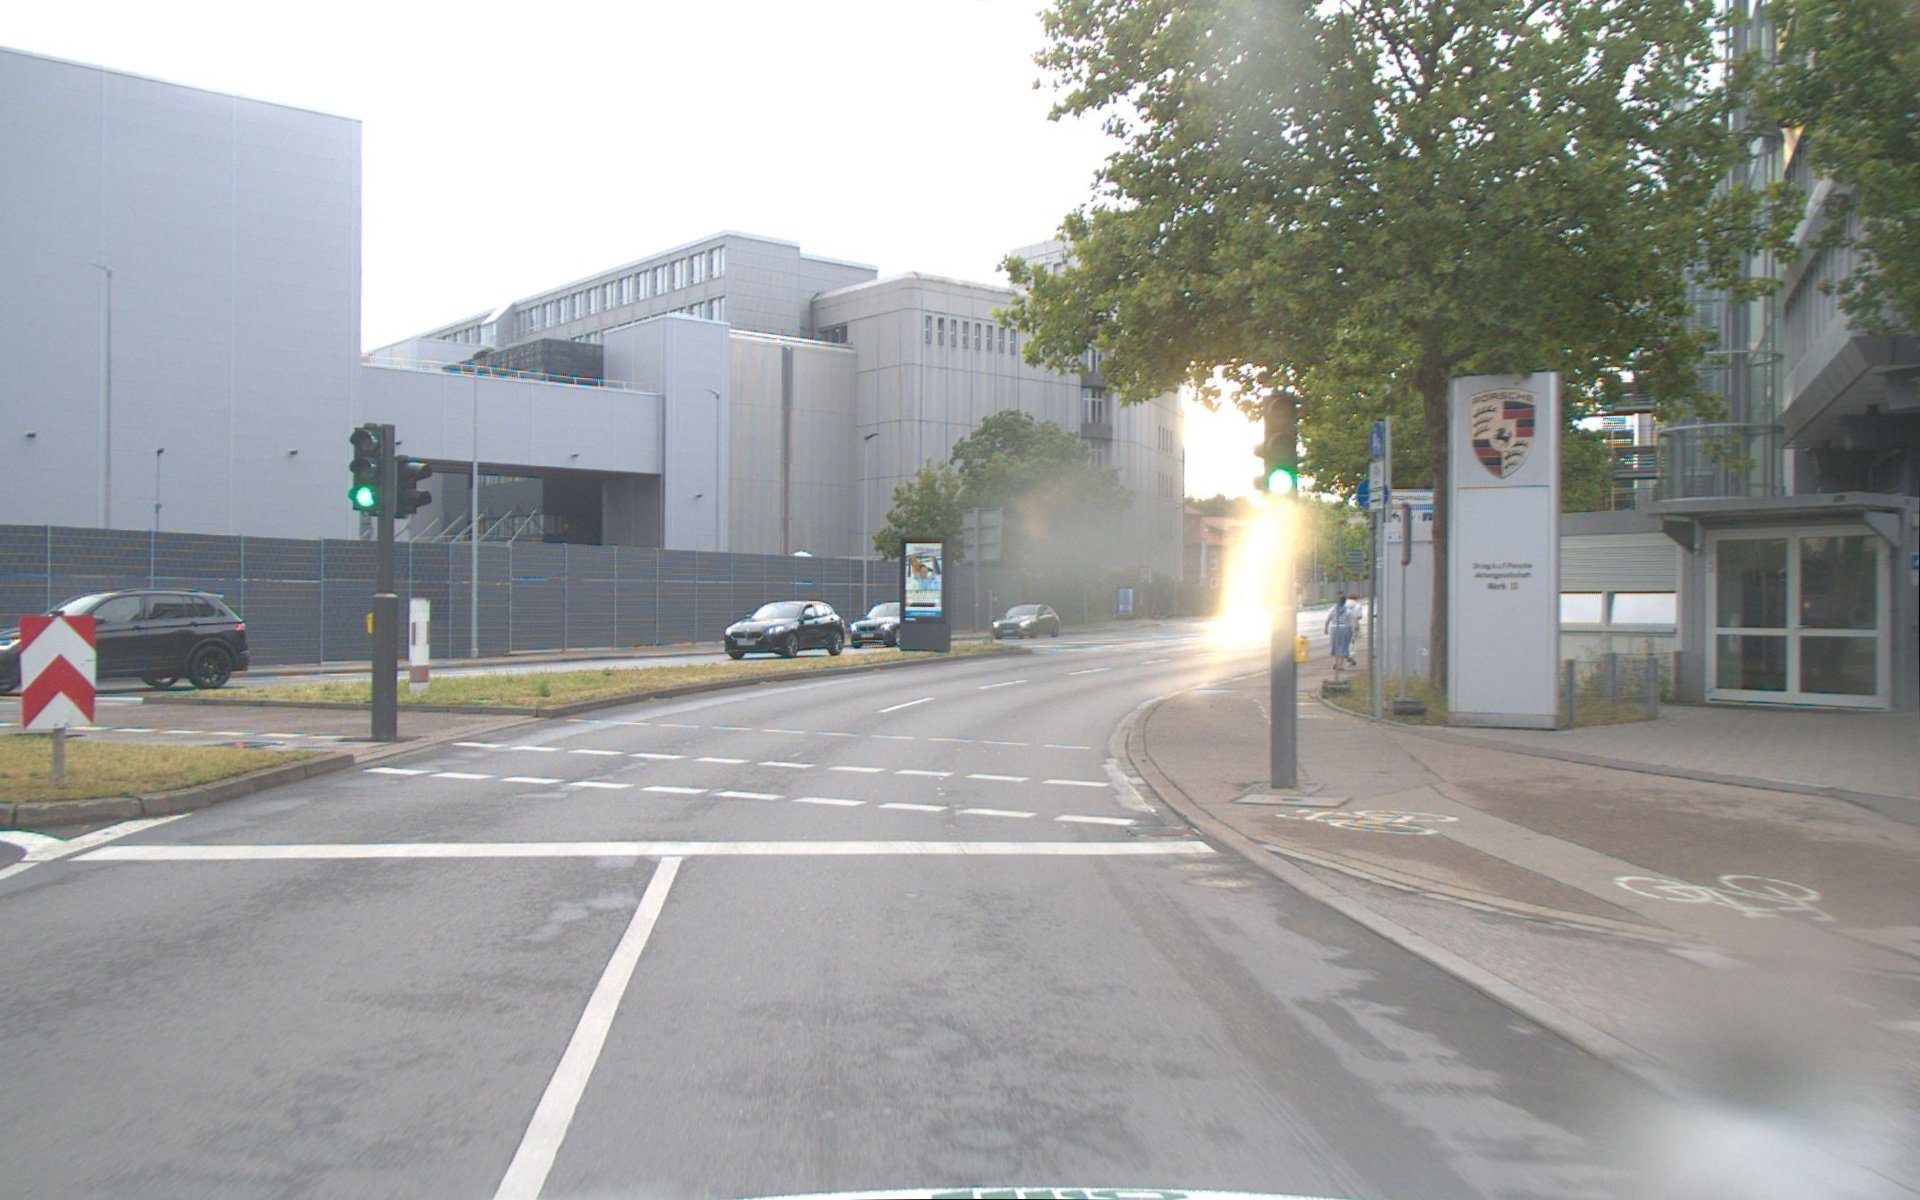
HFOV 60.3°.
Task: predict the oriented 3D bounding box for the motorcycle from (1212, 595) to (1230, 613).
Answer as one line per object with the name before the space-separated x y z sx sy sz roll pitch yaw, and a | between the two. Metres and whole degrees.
motorcycle | 21.773 0.327 137.974 0.894 1.559 3.301 0 0 18

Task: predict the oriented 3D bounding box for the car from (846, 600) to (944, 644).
car | -2.259 0.744 58.727 1.746 1.480 4.560 -1 -1 22

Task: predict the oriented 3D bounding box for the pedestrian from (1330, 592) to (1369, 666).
pedestrian | 8.629 0.624 36.646 0.695 1.620 0.840 0 0 25

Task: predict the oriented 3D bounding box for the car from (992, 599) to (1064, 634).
car | 2.953 0.703 70.919 1.746 1.409 4.546 -2 -1 21

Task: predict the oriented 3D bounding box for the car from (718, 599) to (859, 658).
car | -4.456 0.714 43.583 1.747 1.465 4.393 0 0 24

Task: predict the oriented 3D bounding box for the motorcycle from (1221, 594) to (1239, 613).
motorcycle | 23.275 0.297 142.539 0.939 1.583 3.301 0 0 18

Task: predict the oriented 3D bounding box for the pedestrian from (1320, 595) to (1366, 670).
pedestrian | 8.018 0.676 34.617 0.814 1.547 0.841 0 0 23

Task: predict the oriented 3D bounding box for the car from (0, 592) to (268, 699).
car | -13.889 0.679 27.017 1.752 1.616 4.549 0 0 35
